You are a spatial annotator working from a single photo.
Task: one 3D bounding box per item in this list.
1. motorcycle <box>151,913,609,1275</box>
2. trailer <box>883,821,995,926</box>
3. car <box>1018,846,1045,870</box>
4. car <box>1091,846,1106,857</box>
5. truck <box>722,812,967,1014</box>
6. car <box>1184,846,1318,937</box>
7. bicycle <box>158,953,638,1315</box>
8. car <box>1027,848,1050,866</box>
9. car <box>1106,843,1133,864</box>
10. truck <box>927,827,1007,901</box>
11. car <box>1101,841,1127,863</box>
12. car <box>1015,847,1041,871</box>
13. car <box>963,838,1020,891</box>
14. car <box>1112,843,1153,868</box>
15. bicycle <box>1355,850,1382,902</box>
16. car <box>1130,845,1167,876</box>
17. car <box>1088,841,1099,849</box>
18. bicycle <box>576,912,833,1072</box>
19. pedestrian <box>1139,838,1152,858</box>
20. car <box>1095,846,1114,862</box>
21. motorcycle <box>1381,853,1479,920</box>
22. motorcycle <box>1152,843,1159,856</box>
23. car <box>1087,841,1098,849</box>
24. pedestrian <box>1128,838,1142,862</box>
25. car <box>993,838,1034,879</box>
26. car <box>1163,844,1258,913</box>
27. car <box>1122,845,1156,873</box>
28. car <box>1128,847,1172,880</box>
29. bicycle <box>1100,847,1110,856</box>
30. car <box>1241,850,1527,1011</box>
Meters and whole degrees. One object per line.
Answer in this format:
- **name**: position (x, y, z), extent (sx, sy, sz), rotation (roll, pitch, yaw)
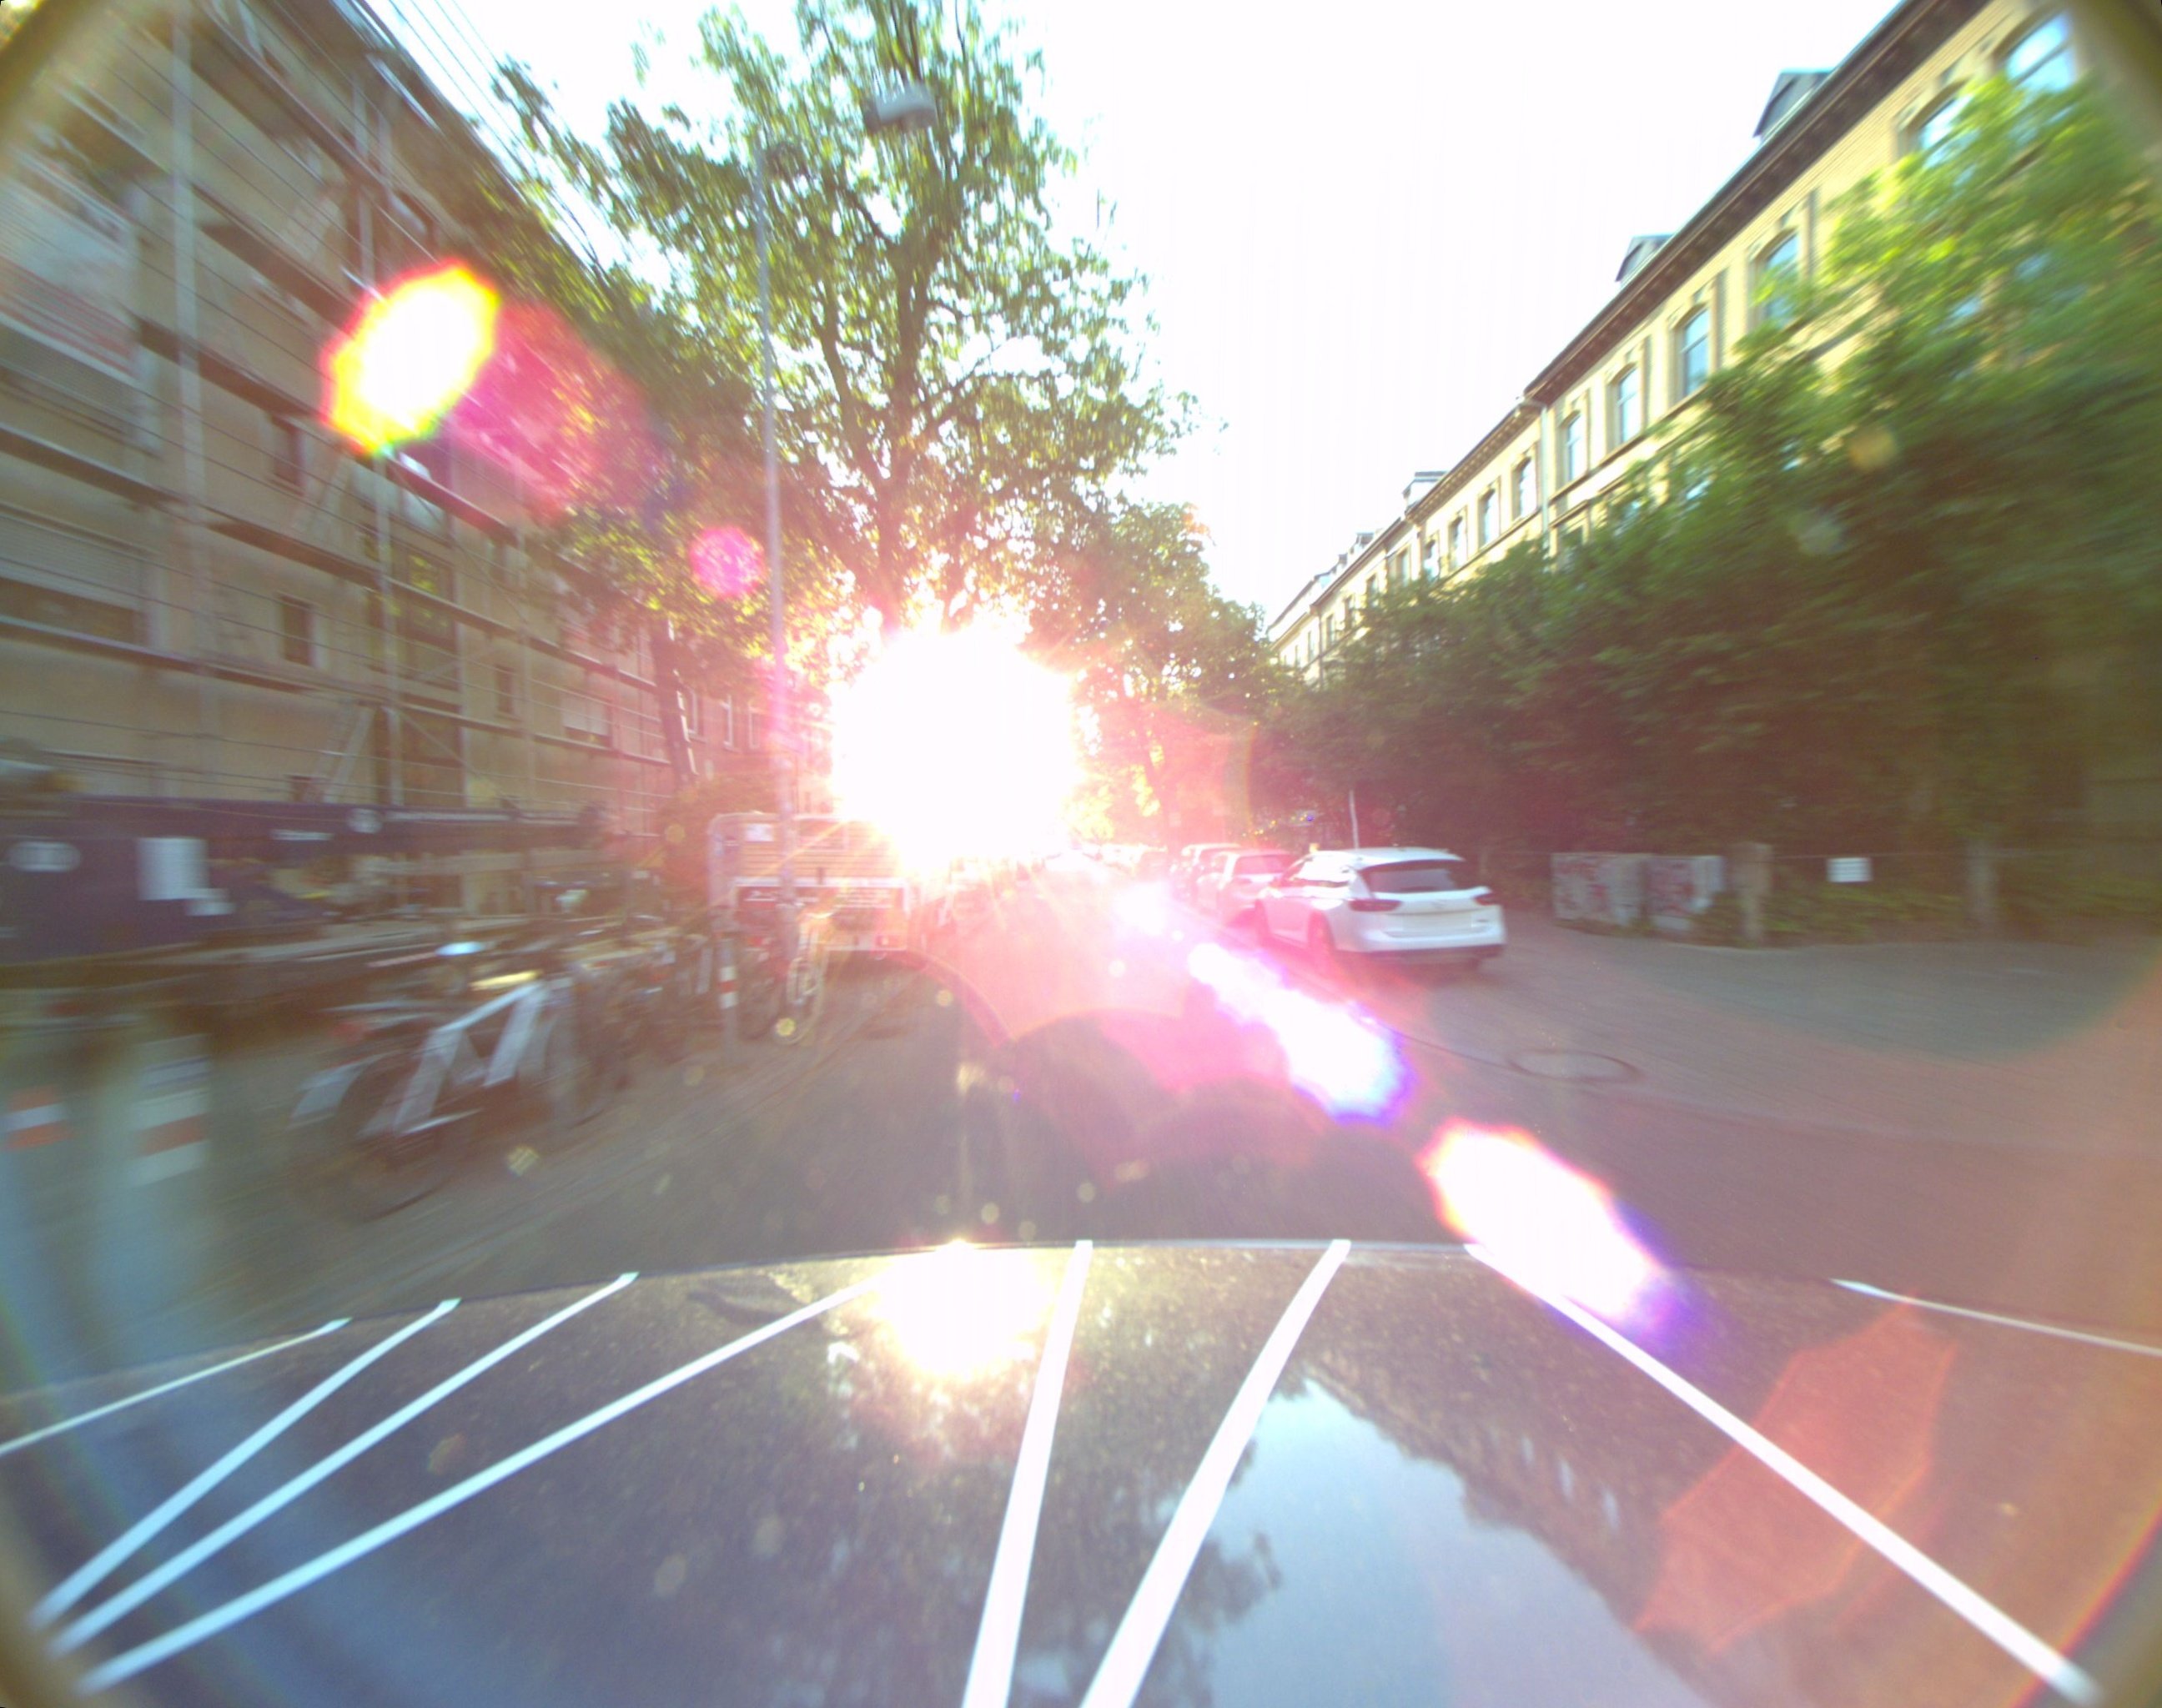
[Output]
- **motorcycle**: position (-3.666, 1.115, 4.306), extent (0.503, 1.349, 2.062), rotation (1, 2, 6)
- **trailer**: position (-3.388, 0.401, 19.032), extent (1.959, 2.282, 4.643), rotation (1, 1, -1)
- **car**: position (-3.626, 0.258, 55.339), extent (1.669, 1.669, 4.117), rotation (1, 0, -7)
- **car**: position (2.434, -0.349, 106.396), extent (1.617, 1.433, 3.753), rotation (-4, 1, -4)
- **truck**: position (-3.160, 0.585, 11.952), extent (1.982, 2.232, 6.773), rotation (-1, 1, -3)
- **car**: position (3.419, 0.662, 16.147), extent (1.694, 1.494, 4.400), rotation (-4, 2, -1)
- **bicycle**: position (-3.307, 1.237, 4.051), extent (0.406, 1.103, 2.155), rotation (1, 1, 7)
- **car**: position (-3.655, 0.238, 65.569), extent (1.735, 1.548, 3.962), rotation (1, 0, 0)
- **car**: position (2.944, -0.039, 58.945), extent (1.668, 1.484, 3.709), rotation (-4, 1, -2)
- **truck**: position (-3.723, 0.290, 25.643), extent (1.959, 2.233, 4.644), rotation (1, 0, 0)
- **car**: position (2.712, -0.151, 63.298), extent (1.669, 1.668, 3.845), rotation (-4, 1, -4)
- **car**: position (-3.522, 0.325, 50.666), extent (1.669, 1.491, 3.692), rotation (1, 0, -3)
- **car**: position (-3.484, 0.385, 30.390), extent (1.844, 1.931, 4.612), rotation (1, 0, -2)
- **car**: position (3.343, 0.095, 50.321), extent (1.845, 1.403, 4.597), rotation (-4, 1, -6)
- **bicycle**: position (7.658, 0.550, 20.298), extent (0.606, 1.277, 2.489), rotation (-1, 1, 20)
- **car**: position (3.523, 0.317, 40.124), extent (1.555, 1.477, 3.693), rotation (-4, 1, 1)
- **car**: position (2.269, -1.687, 140.387), extent (1.617, 1.433, 4.103), rotation (-3, 1, -3)
- **bicycle**: position (-3.120, 1.137, 6.399), extent (1.908, 1.251, 0.406), rotation (1, 1, -6)
- **pedestrian**: position (6.013, -0.555, 70.828), extent (0.688, 1.824, 1.007), rotation (-2, 2, -27)
- **car**: position (2.705, -0.012, 89.022), extent (1.871, 1.678, 4.591), rotation (-3, 1, -1)
- **motorcycle**: position (6.895, 0.584, 15.203), extent (0.584, 1.150, 2.890), rotation (-2, 1, -1)
- **motorcycle**: position (6.819, -0.421, 69.472), extent (0.392, 1.179, 1.957), rotation (-3, 1, 9)
- **car**: position (2.048, -1.578, 135.190), extent (1.617, 1.433, 4.103), rotation (-3, 1, -3)
- **pedestrian**: position (4.620, -0.360, 64.767), extent (0.870, 2.002, 1.007), rotation (-1, 2, -21)
- **car**: position (-3.594, 0.205, 41.115), extent (1.959, 2.047, 4.829), rotation (1, 0, -2)
- **car**: position (3.409, 0.576, 20.805), extent (1.694, 1.554, 4.401), rotation (-4, 1, -1)
- **car**: position (3.328, 0.263, 44.301), extent (1.607, 1.427, 3.885), rotation (-4, 1, 1)
- **car**: position (3.187, 0.407, 35.578), extent (1.555, 1.477, 3.692), rotation (-1, 1, -2)
- **bicycle**: position (2.965, -0.270, 93.681), extent (0.606, 1.031, 1.806), rotation (-4, 1, -16)
- **car**: position (3.579, 0.767, 10.070), extent (1.694, 1.493, 4.736), rotation (-4, 1, -2)
